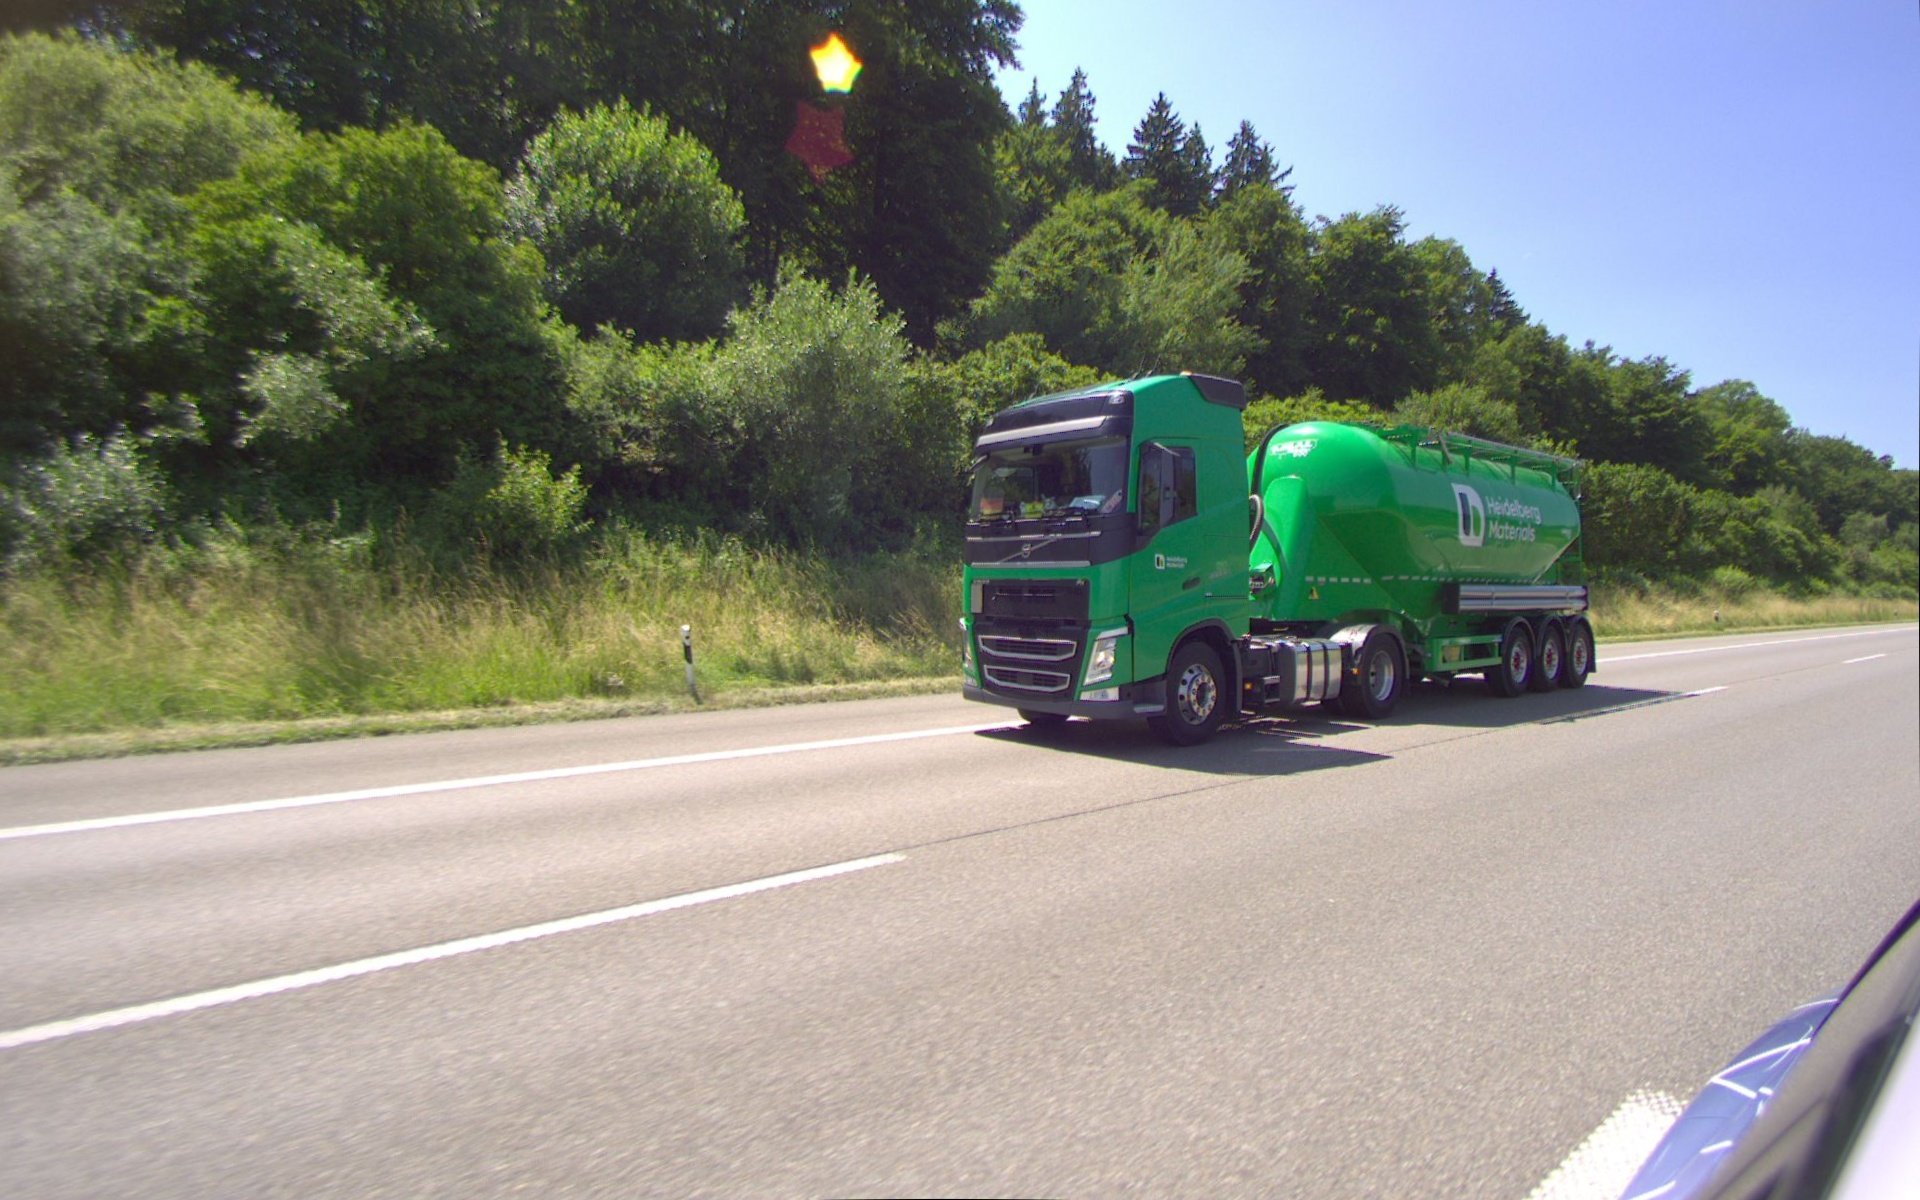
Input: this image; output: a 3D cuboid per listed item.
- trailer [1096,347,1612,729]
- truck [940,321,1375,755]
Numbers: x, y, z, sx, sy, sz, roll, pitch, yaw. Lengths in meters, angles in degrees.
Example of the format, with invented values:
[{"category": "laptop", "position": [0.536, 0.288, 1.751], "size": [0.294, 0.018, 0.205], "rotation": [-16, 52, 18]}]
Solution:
[{"category": "trailer", "position": [6.476, -0.639, 15.132], "size": [10.283, 4.079, 2.592], "rotation": [1, -1, -40]}, {"category": "truck", "position": [2.404, -0.550, 11.610], "size": [4.807, 3.891, 2.513], "rotation": [1, -1, -41]}]
